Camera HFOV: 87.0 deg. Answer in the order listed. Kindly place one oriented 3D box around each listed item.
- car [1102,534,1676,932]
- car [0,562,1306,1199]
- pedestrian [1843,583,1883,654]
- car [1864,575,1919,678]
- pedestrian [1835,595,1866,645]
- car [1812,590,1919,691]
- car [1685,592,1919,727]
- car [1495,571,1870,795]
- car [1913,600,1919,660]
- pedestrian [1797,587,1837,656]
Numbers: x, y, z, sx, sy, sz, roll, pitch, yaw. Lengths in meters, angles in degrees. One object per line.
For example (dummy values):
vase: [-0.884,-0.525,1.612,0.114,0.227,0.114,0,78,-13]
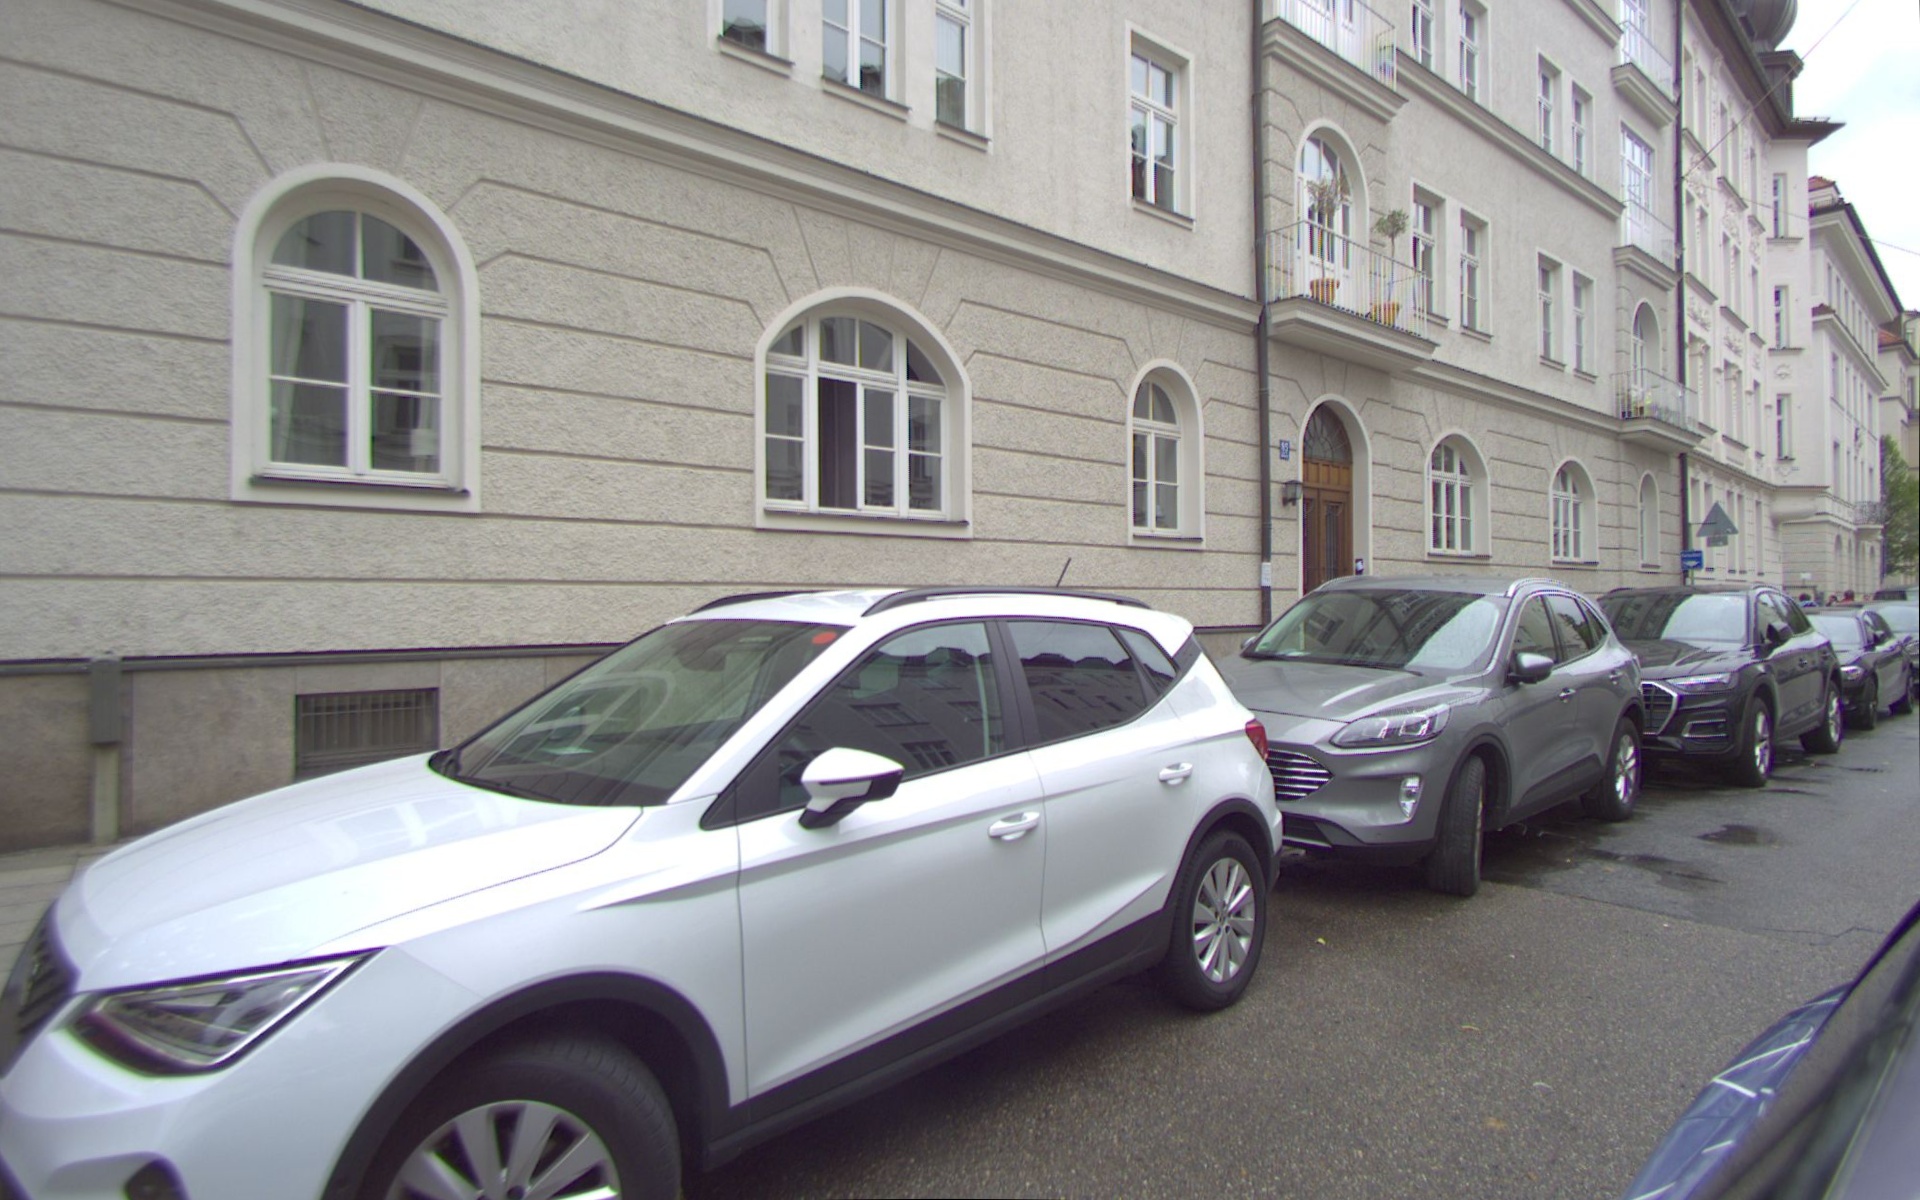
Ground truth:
car: [3.004,0.572,6.554,4.351,1.735,1.792,0,0,-42]
car: [-0.588,0.707,3.339,3.846,1.515,1.751,0,-1,-45]
pedestrian: [22.668,0.448,25.399,0.692,1.750,0.703,1,0,-44]
car: [19.703,0.482,20.196,4.633,1.910,1.913,0,-3,-42]
pedestrian: [30.643,0.682,34.840,0.798,1.700,0.683,1,1,-43]
car: [15.699,0.635,16.961,3.574,1.545,1.657,0,-1,-42]
car: [11.065,0.659,13.073,4.124,1.490,1.710,0,-1,-38]
car: [6.949,0.638,9.570,4.296,1.657,1.781,0,-2,-39]
car: [24.211,0.667,24.163,3.518,1.413,1.666,0,-2,-40]
pedestrian: [21.642,0.523,25.554,0.643,1.695,0.680,1,1,-44]
